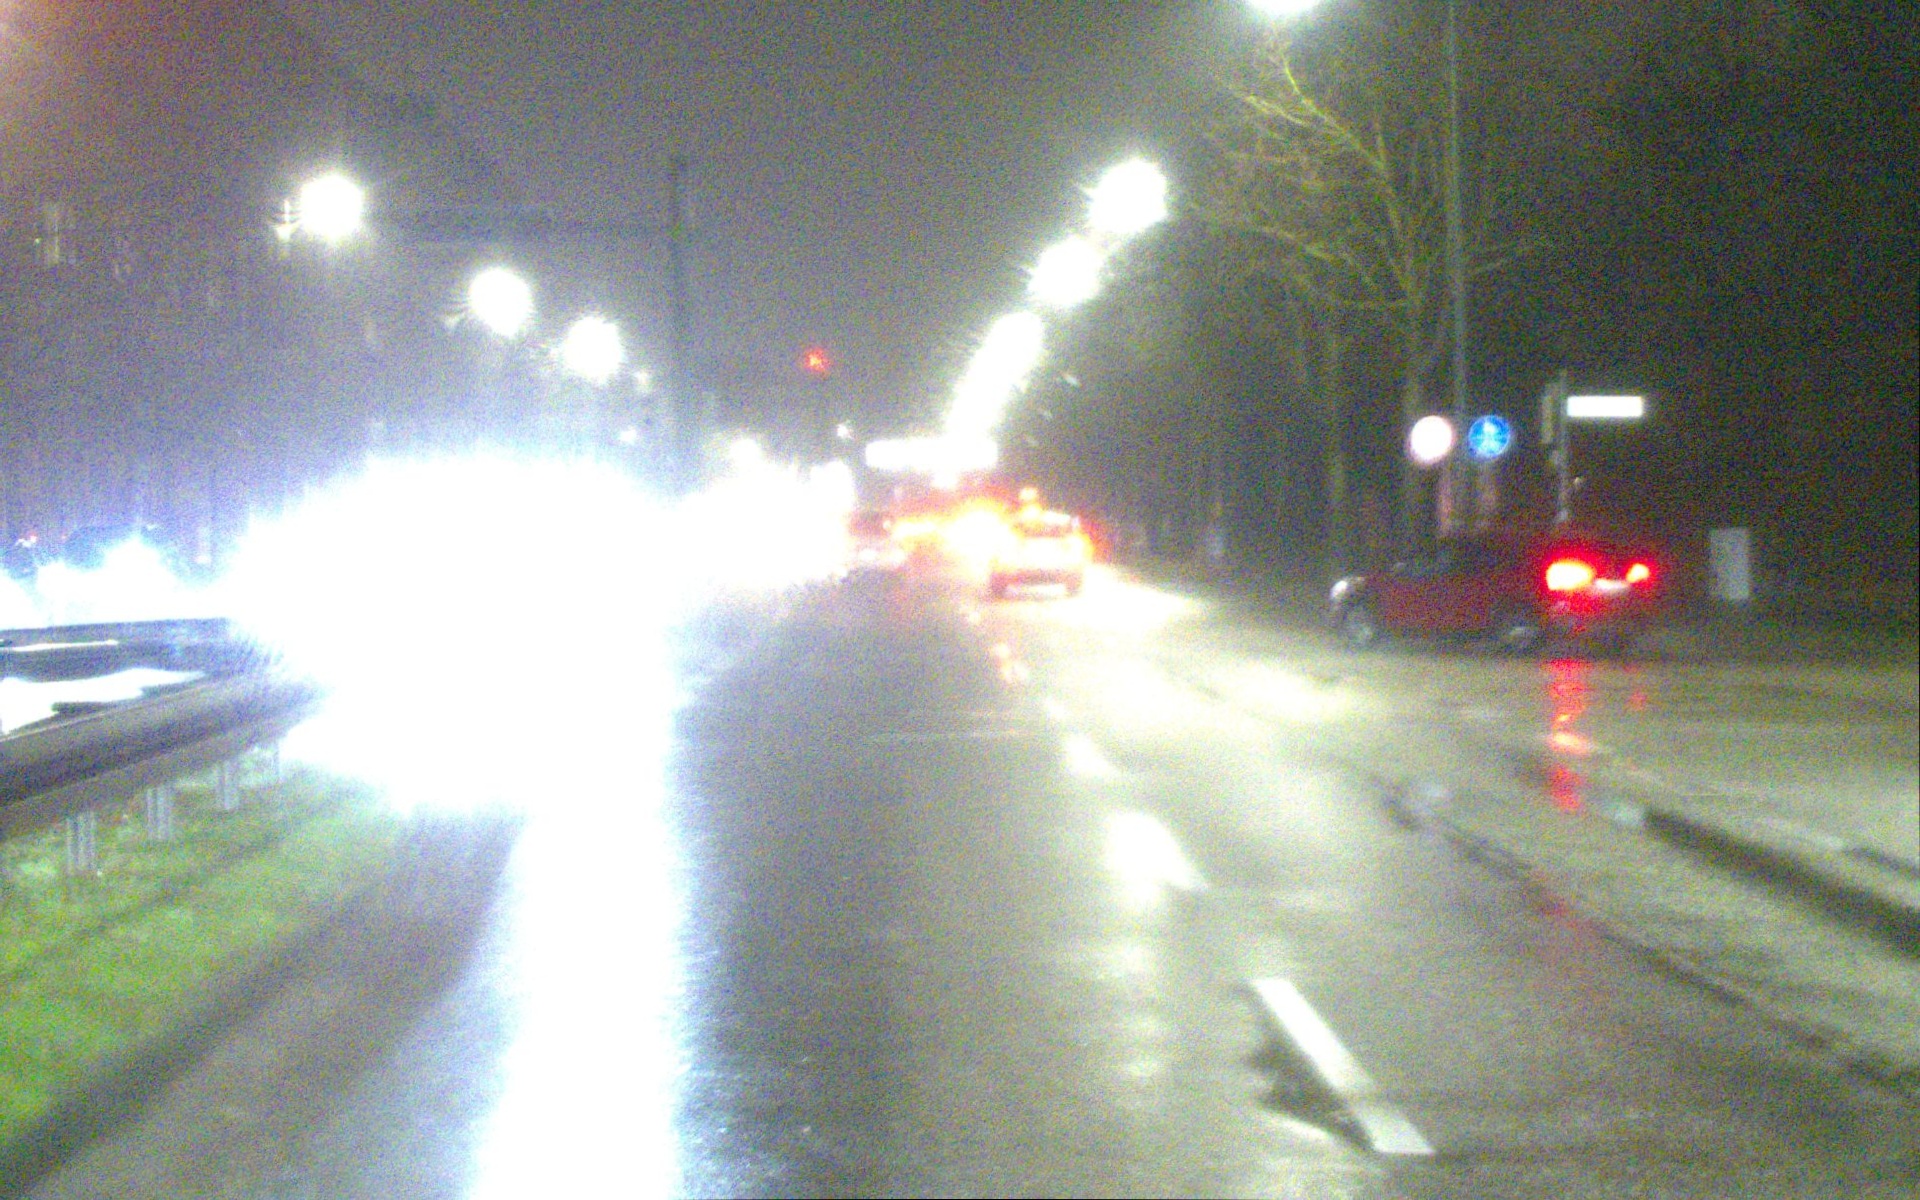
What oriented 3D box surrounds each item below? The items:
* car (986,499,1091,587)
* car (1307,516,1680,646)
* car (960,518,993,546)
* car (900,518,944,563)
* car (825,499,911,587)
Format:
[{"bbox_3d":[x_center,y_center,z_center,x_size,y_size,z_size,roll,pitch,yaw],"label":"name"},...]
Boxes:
[{"bbox_3d":[1.539,-1.130,68.656,1.790,1.673,4.429,1,1,-2],"label":"car"},{"bbox_3d":[6.333,-0.247,41.142,1.792,1.482,4.151,0,1,-44],"label":"car"},{"bbox_3d":[1.048,-4.379,220.789,1.993,1.753,4.000,1,1,-1],"label":"car"},{"bbox_3d":[-1.630,-2.514,146.496,1.791,1.868,4.627,1,1,-1],"label":"car"},{"bbox_3d":[-2.014,-1.242,75.681,1.791,1.868,4.627,1,1,-1],"label":"car"}]
